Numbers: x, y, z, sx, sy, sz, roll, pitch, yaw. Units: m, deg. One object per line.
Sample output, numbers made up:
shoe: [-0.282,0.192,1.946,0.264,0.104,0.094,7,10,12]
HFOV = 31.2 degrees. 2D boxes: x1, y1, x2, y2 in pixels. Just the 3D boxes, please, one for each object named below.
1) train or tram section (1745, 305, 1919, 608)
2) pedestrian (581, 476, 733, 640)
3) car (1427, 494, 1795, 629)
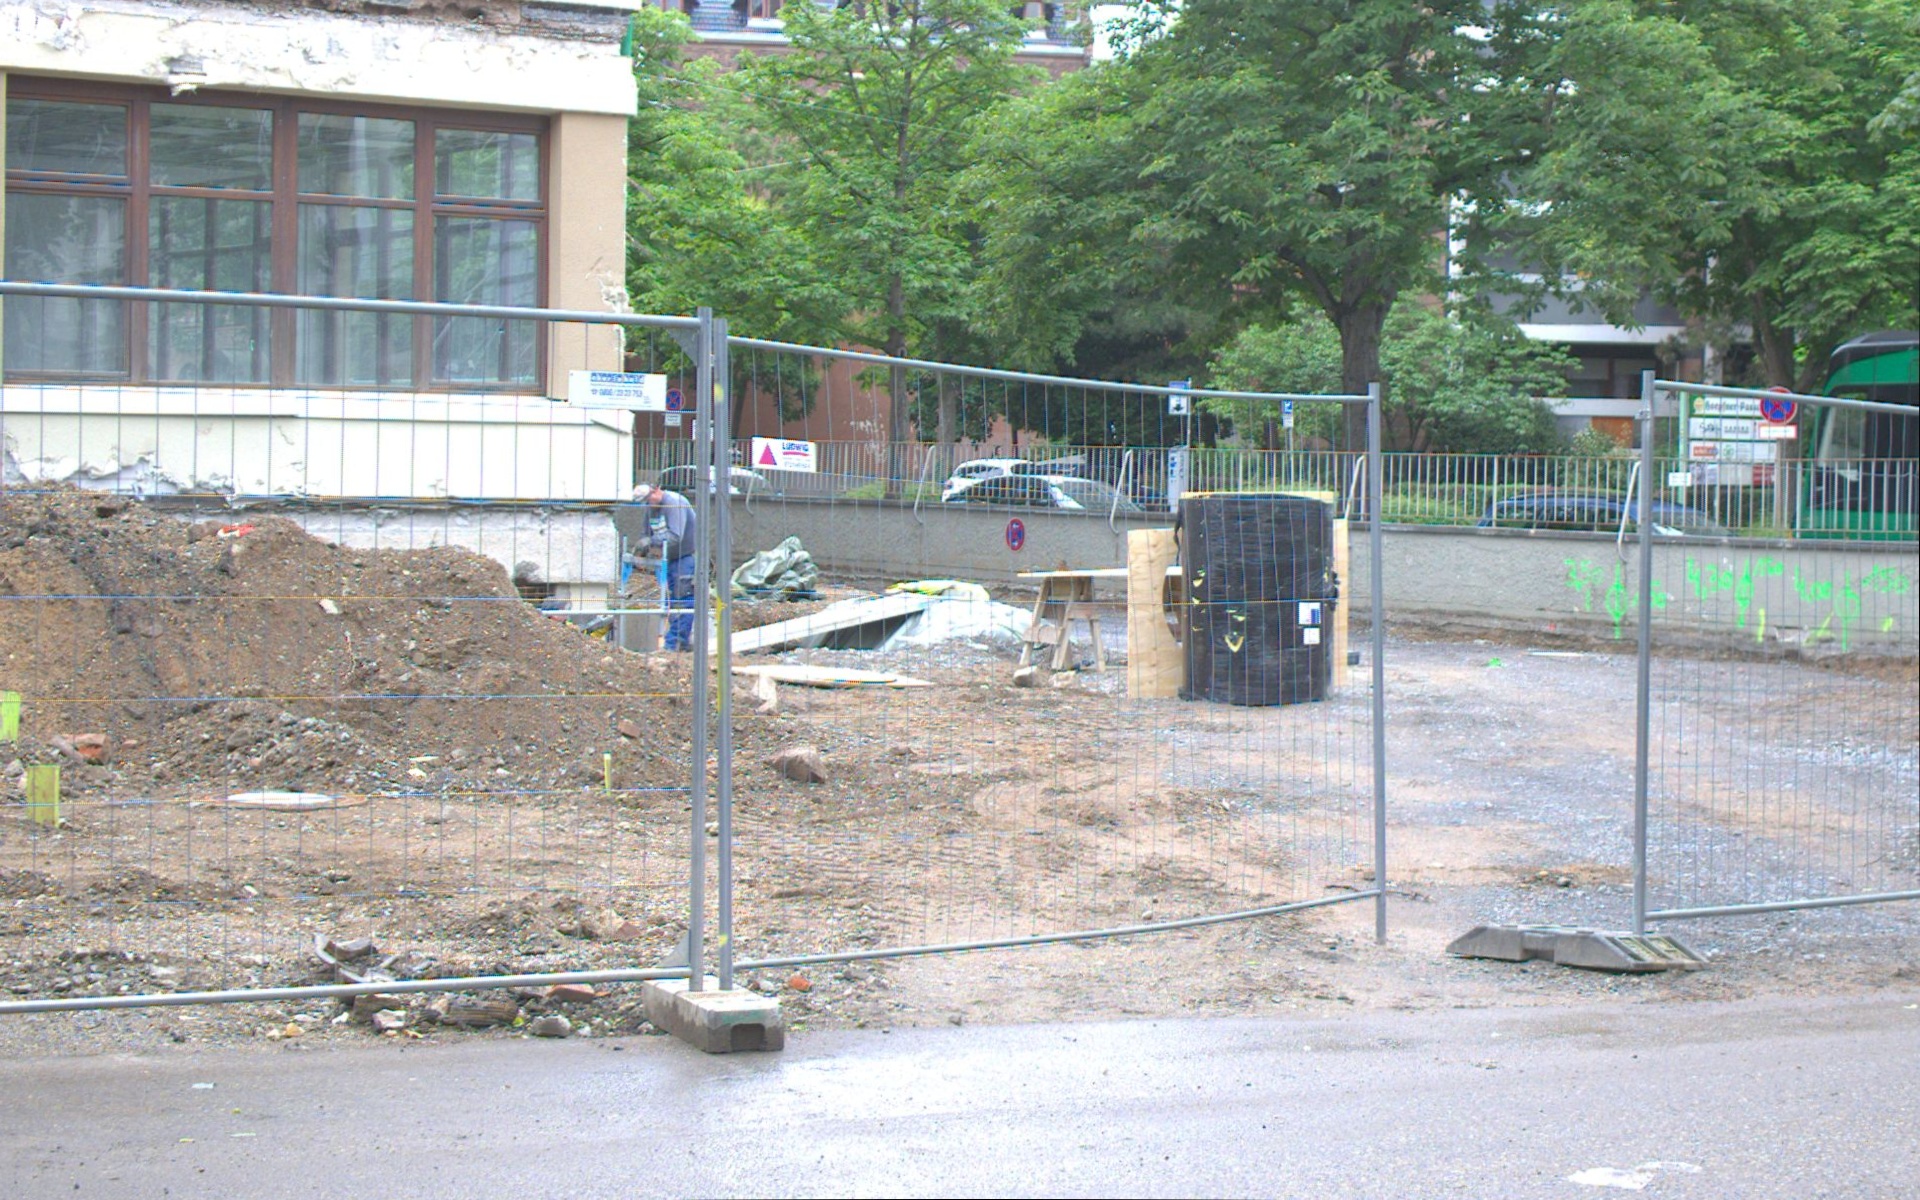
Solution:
train or tram section: [14.523,-1.560,38.745,2.660,3.601,12.457,0,2,-35]
pedestrian: [-2.720,-0.384,30.834,0.980,1.432,0.930,0,2,-39]
car: [7.427,-0.480,39.546,1.827,1.413,4.000,0,2,-35]
